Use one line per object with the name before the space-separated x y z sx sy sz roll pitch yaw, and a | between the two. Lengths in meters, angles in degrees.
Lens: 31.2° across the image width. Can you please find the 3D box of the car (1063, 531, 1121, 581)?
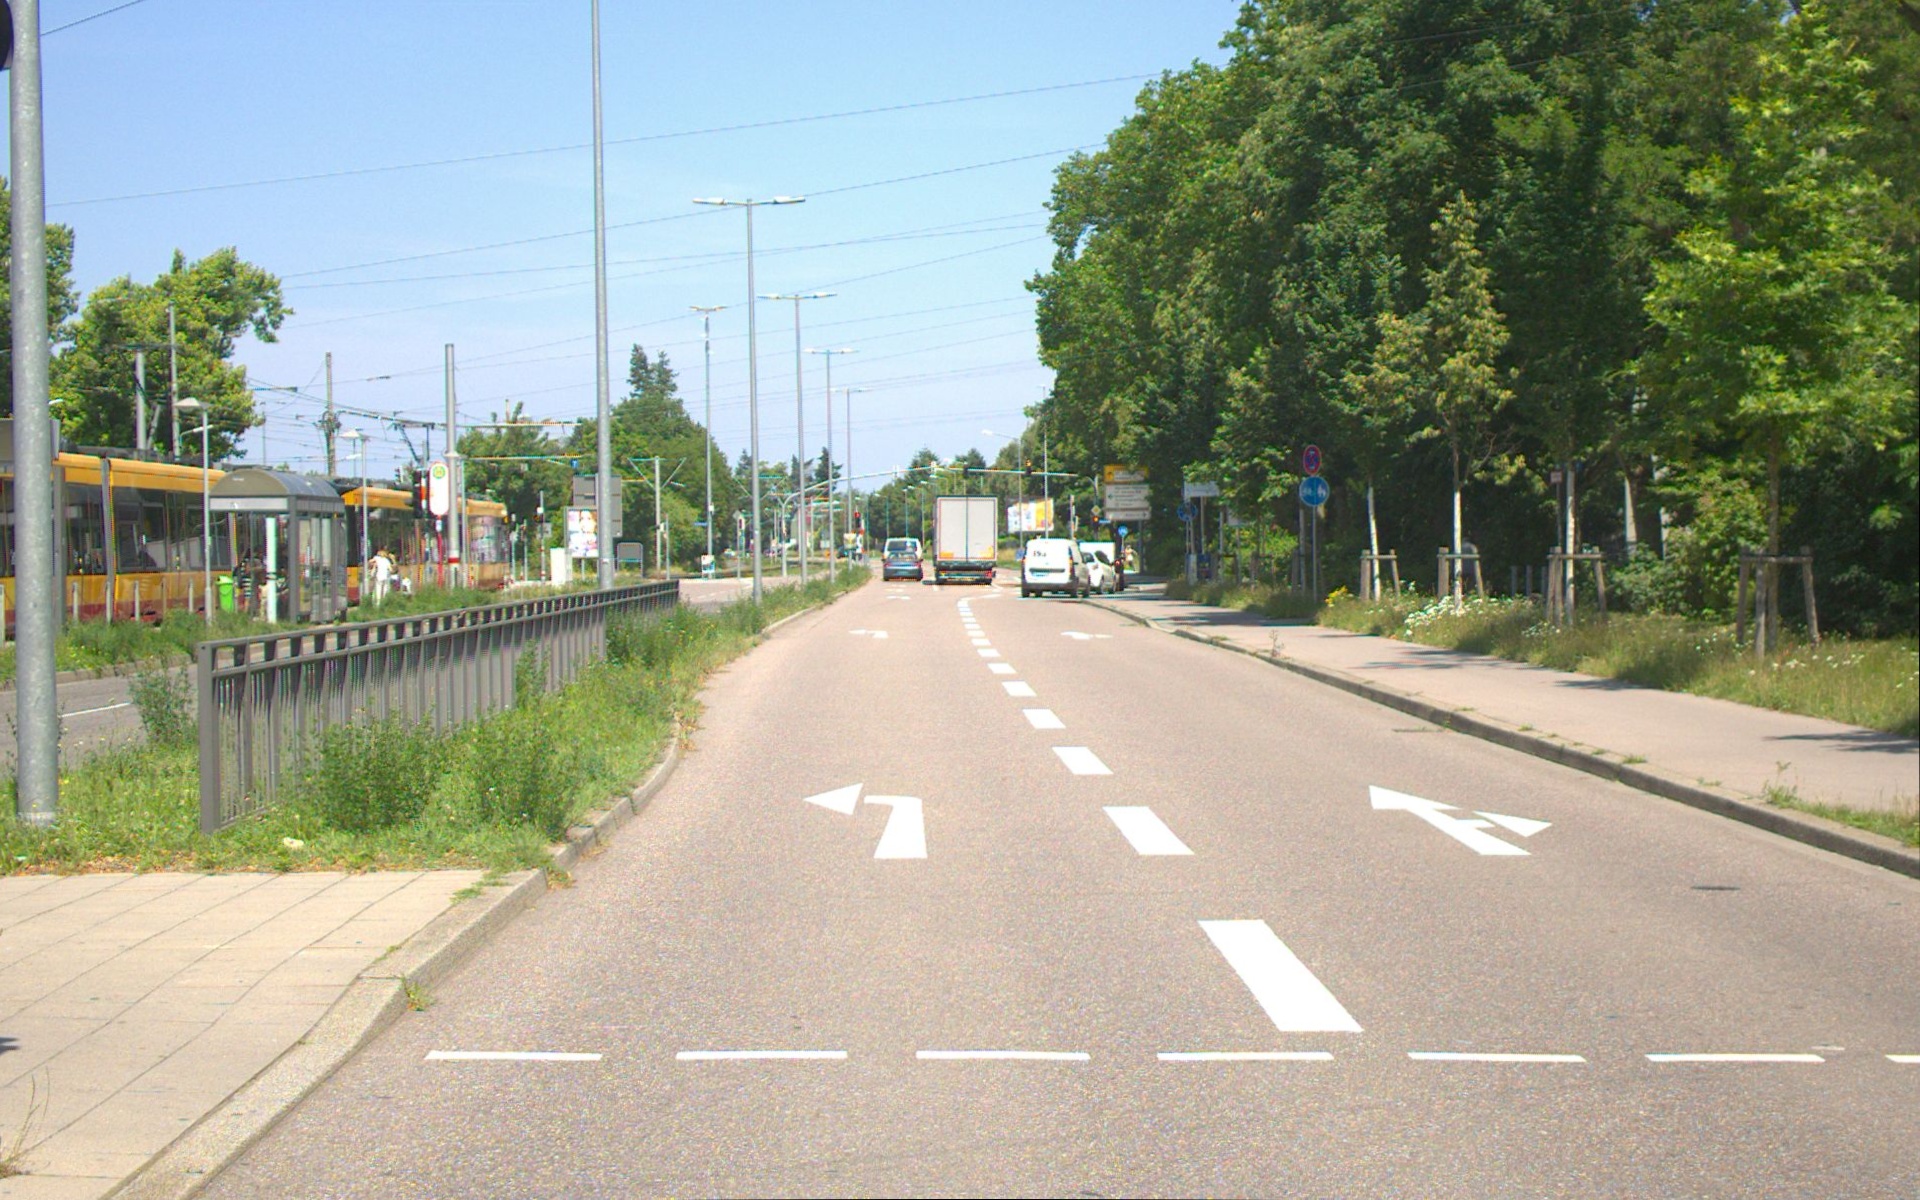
car | 4.543 -1.528 118.785 1.779 1.663 4.000 0 1 -1

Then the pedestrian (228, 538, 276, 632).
pedestrian | -14.260 -0.308 69.298 0.785 1.862 0.817 0 1 -1

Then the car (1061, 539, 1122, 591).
car | 4.293 -1.163 112.442 1.779 1.663 4.000 0 1 -1

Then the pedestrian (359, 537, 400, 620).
pedestrian | -14.110 -0.519 83.562 0.815 2.007 0.938 0 1 -1

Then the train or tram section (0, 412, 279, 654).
train or tram section | -16.584 -1.205 63.176 2.957 3.736 30.035 0 1 -2

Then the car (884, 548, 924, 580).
car | -2.563 -1.668 157.881 1.811 1.459 4.000 0 1 -1

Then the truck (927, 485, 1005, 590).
truck | 0.207 -2.648 146.106 3.205 4.344 6.561 0 1 -1

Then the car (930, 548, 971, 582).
car | -0.439 -1.574 153.614 1.811 1.459 4.000 0 1 -1

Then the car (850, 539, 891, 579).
car | -4.560 -2.094 175.162 1.993 2.007 4.000 0 1 -1

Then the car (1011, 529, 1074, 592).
car | 2.505 -1.233 105.512 1.779 1.897 4.000 0 1 -1

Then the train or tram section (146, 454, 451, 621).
train or tram section | -17.469 -1.723 94.628 2.931 3.776 33.091 0 1 -2

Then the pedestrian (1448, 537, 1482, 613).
pedestrian | 9.527 -0.469 64.883 0.604 1.433 0.556 0 1 6
